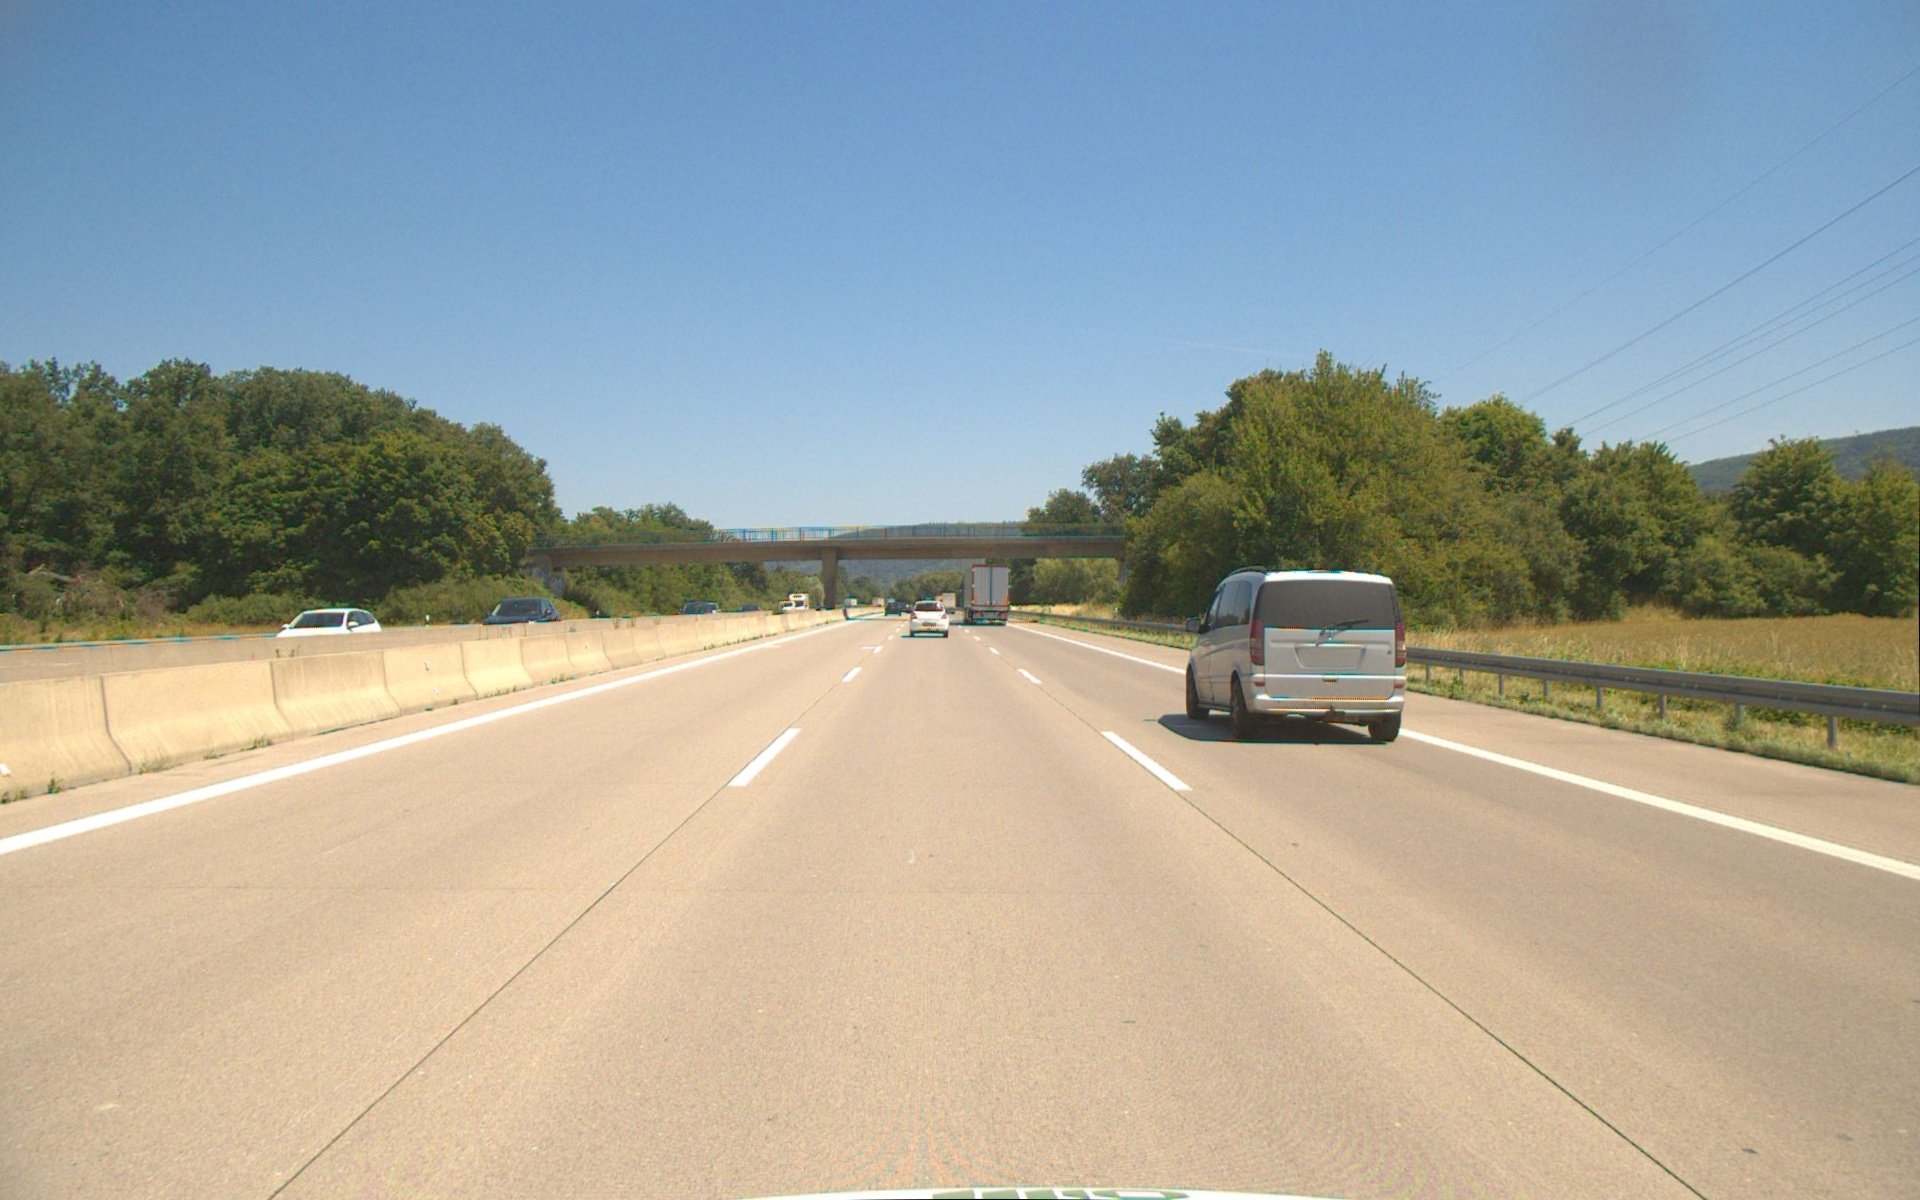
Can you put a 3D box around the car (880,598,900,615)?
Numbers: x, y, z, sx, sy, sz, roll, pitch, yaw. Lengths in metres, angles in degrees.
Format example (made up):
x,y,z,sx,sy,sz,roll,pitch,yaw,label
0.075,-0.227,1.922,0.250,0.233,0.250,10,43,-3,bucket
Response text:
x,y,z,sx,sy,sz,roll,pitch,yaw,label
-7.555,0.718,178.248,1.982,1.730,3.997,2,0,-4,car

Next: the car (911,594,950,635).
x,y,z,sx,sy,sz,roll,pitch,yaw,label
-1.274,0.626,71.040,1.608,1.691,3.359,1,0,-1,car

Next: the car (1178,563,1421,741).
x,y,z,sx,sy,sz,roll,pitch,yaw,label
4.029,0.562,20.573,1.841,1.922,5.278,0,0,-1,car

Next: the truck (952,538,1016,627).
x,y,z,sx,sy,sz,roll,pitch,yaw,label
1.540,-1.139,117.817,3.505,5.889,18.237,0,0,-3,truck

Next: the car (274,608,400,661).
x,y,z,sx,sy,sz,roll,pitch,yaw,label
-16.860,0.904,45.017,1.653,1.285,4.790,-1,0,-1,car
